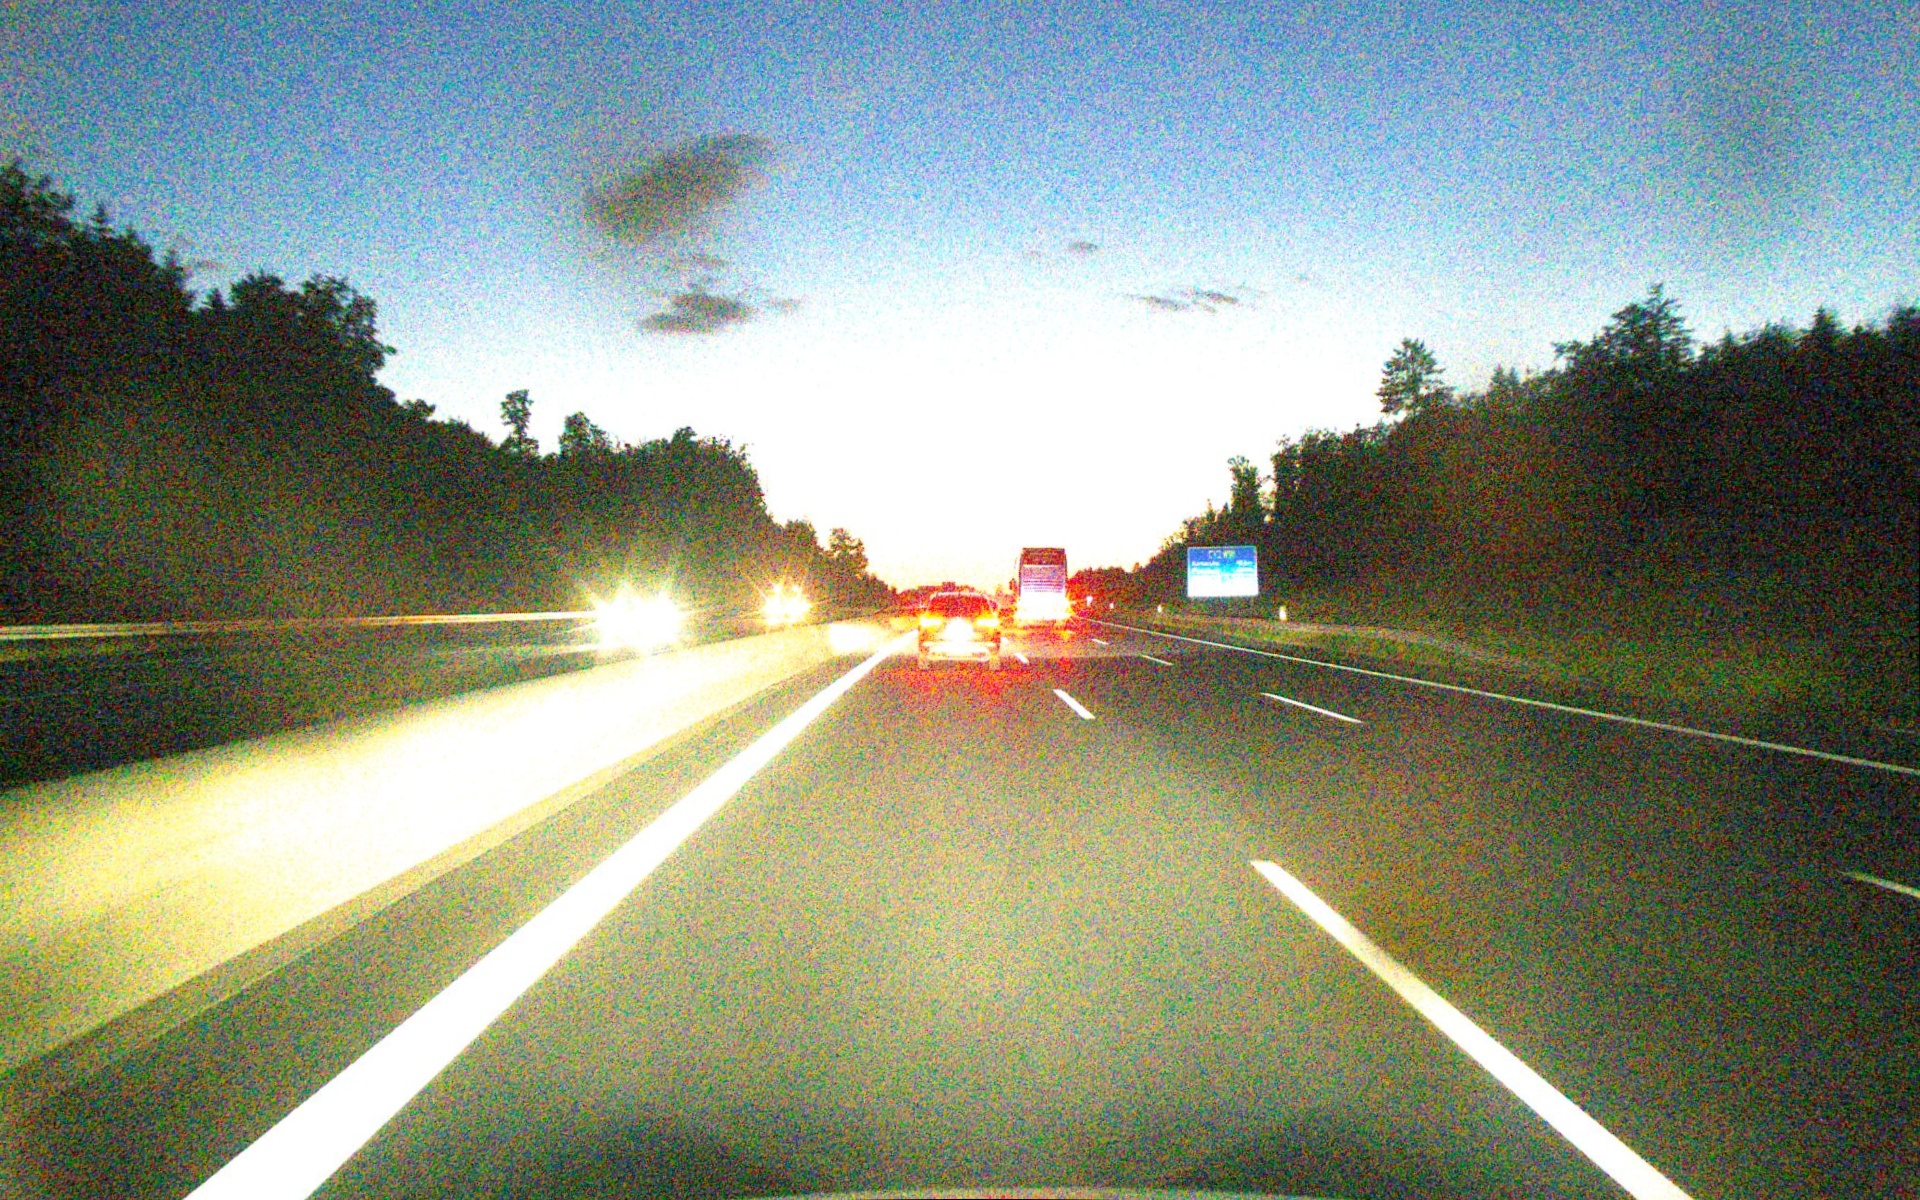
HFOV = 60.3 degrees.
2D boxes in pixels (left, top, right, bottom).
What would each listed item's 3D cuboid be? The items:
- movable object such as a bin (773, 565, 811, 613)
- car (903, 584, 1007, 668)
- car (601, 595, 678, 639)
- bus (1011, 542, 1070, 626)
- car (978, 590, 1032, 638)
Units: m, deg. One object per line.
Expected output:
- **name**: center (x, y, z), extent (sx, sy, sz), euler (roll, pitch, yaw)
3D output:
- **movable object such as a bin**: center (-13.736, -0.880, 135.952), extent (2.246, 3.835, 7.686), euler (0, 0, 1)
- **car**: center (-0.129, 0.568, 35.724), extent (2.063, 1.646, 4.203), euler (-2, -1, -1)
- **car**: center (-11.133, 0.560, 57.765), extent (1.894, 1.478, 4.452), euler (0, 0, -1)
- **bus**: center (4.261, -0.680, 90.171), extent (2.597, 4.064, 14.702), euler (-2, -1, 1)
- **car**: center (1.797, 0.583, 66.806), extent (1.873, 1.760, 3.998), euler (3, -1, -2)
